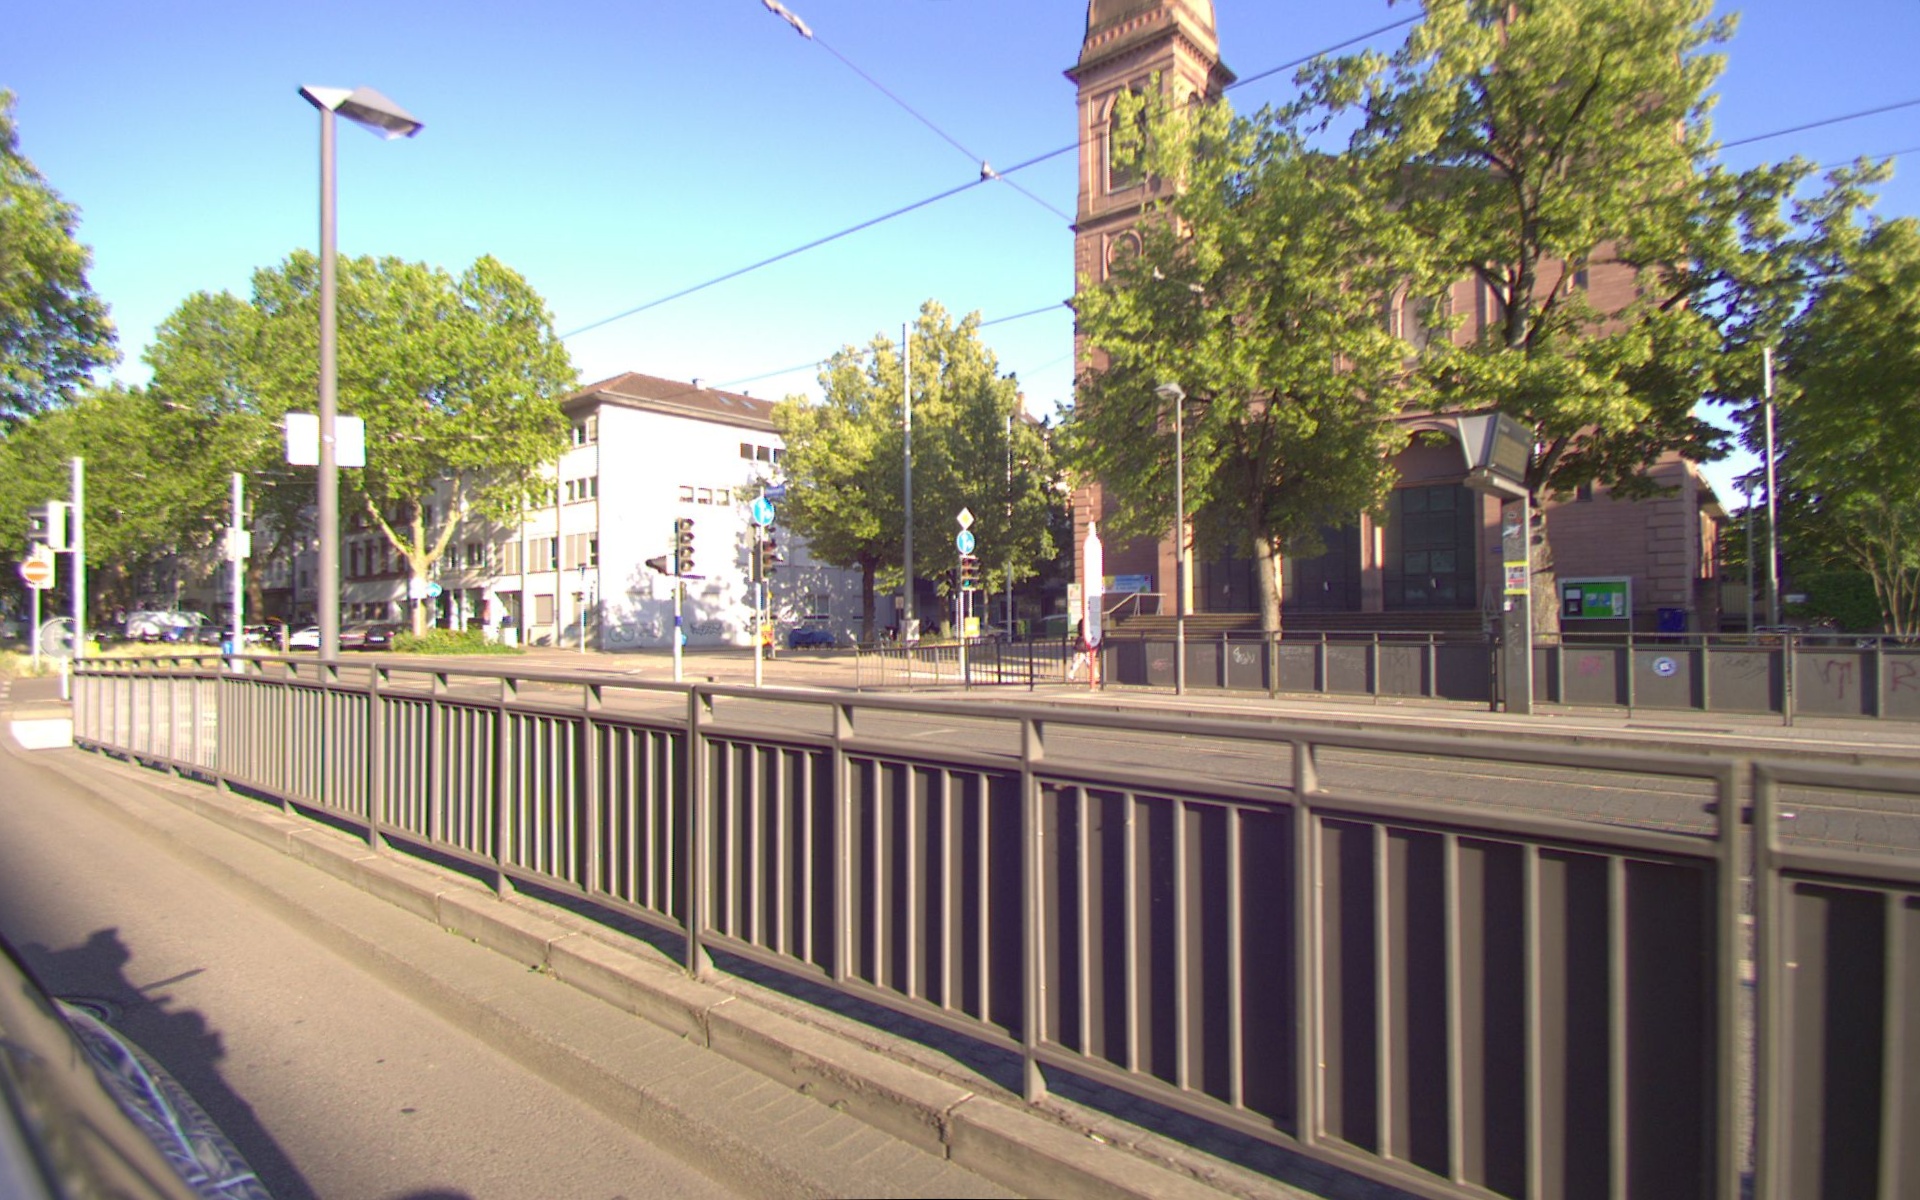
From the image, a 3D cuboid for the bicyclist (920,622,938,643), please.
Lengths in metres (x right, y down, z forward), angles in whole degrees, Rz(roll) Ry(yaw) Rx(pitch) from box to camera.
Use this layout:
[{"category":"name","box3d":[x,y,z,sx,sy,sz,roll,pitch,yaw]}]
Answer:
[{"category":"bicyclist","box3d":[-1.983,2.059,64.579,0.632,1.341,0.956,-2,-3,41]}]

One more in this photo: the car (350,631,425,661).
[{"category":"car","box3d":[-29.575,2.362,52.407,1.746,1.443,3.973,0,-2,-2]}]

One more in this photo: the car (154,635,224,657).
[{"category":"car","box3d":[-59.181,3.502,77.754,1.980,1.630,3.982,-1,-2,13]}]

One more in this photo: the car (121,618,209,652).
[{"category":"car","box3d":[-65.994,2.876,84.137,2.161,2.721,5.583,-1,-2,16]}]

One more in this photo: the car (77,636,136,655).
[{"category":"car","box3d":[-83.326,4.425,98.841,1.980,1.719,3.982,-1,-2,13]}]

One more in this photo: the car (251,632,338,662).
[{"category":"car","box3d":[-39.404,2.764,60.052,2.126,1.697,4.250,0,-2,6]}]

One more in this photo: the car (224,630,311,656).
[{"category":"car","box3d":[-43.185,2.687,63.194,1.634,1.569,4.221,-1,-2,25]}]

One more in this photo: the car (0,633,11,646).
[{"category":"car","box3d":[-139.619,5.674,145.863,3.937,1.827,1.876,1,-3,-40]}]

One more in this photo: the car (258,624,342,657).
[{"category":"car","box3d":[-41.091,2.527,63.125,1.508,1.958,4.221,-1,-2,25]}]

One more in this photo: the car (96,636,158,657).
[{"category":"car","box3d":[-75.440,4.181,91.745,1.980,1.830,3.982,-1,-2,13]}]

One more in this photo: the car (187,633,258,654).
[{"category":"car","box3d":[-53.364,3.140,73.311,1.883,1.469,4.251,0,-2,4]}]

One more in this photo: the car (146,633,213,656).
[{"category":"car","box3d":[-63.659,3.627,82.636,1.980,1.830,3.982,-1,-2,13]}]

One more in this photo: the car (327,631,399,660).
[{"category":"car","box3d":[-32.253,2.455,54.808,1.717,1.443,3.973,-2,-2,-2]}]

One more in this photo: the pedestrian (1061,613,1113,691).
[{"category":"pedestrian","box3d":[3.076,1.236,24.480,0.832,1.773,0.909,-1,2,42]}]

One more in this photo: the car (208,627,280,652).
[{"category":"car","box3d":[-48.509,2.668,68.636,1.881,1.626,4.257,0,-1,0]}]

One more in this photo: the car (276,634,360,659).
[{"category":"car","box3d":[-36.698,2.626,57.997,2.123,1.388,4.257,0,-2,0]}]

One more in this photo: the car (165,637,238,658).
[{"category":"car","box3d":[-56.752,3.526,75.781,1.985,1.530,3.973,-1,-2,20]}]

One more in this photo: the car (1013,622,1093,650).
[{"category":"car","box3d":[5.766,2.247,62.981,4.706,1.674,1.973,-2,-2,40]}]

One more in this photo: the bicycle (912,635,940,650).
[{"category":"bicycle","box3d":[-2.148,2.695,64.354,0.632,0.988,1.962,-2,-3,41]}]

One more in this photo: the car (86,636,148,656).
[{"category":"car","box3d":[-78.034,4.266,93.739,1.980,1.830,3.982,-1,-2,13]}]

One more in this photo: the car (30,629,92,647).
[{"category":"car","box3d":[-87.905,3.665,98.971,1.996,1.719,4.184,-2,-3,36]}]

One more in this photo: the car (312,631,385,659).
[{"category":"car","box3d":[-34.360,2.534,56.974,1.805,1.516,3.973,0,-2,-2]}]

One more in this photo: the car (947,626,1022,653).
[{"category":"car","box3d":[1.354,2.248,57.160,3.998,1.409,1.792,-3,-3,41]}]

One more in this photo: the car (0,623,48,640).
[{"category":"car","box3d":[-121.179,4.079,130.916,2.071,2.230,4.943,0,-2,-2]}]

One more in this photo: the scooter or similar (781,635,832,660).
[{"category":"scooter or similar","box3d":[-7.265,2.222,47.972,2.447,1.135,1.082,-2,-2,41]}]

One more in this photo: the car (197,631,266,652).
[{"category":"car","box3d":[-51.029,2.900,71.007,1.582,1.470,4.251,0,-2,4]}]
